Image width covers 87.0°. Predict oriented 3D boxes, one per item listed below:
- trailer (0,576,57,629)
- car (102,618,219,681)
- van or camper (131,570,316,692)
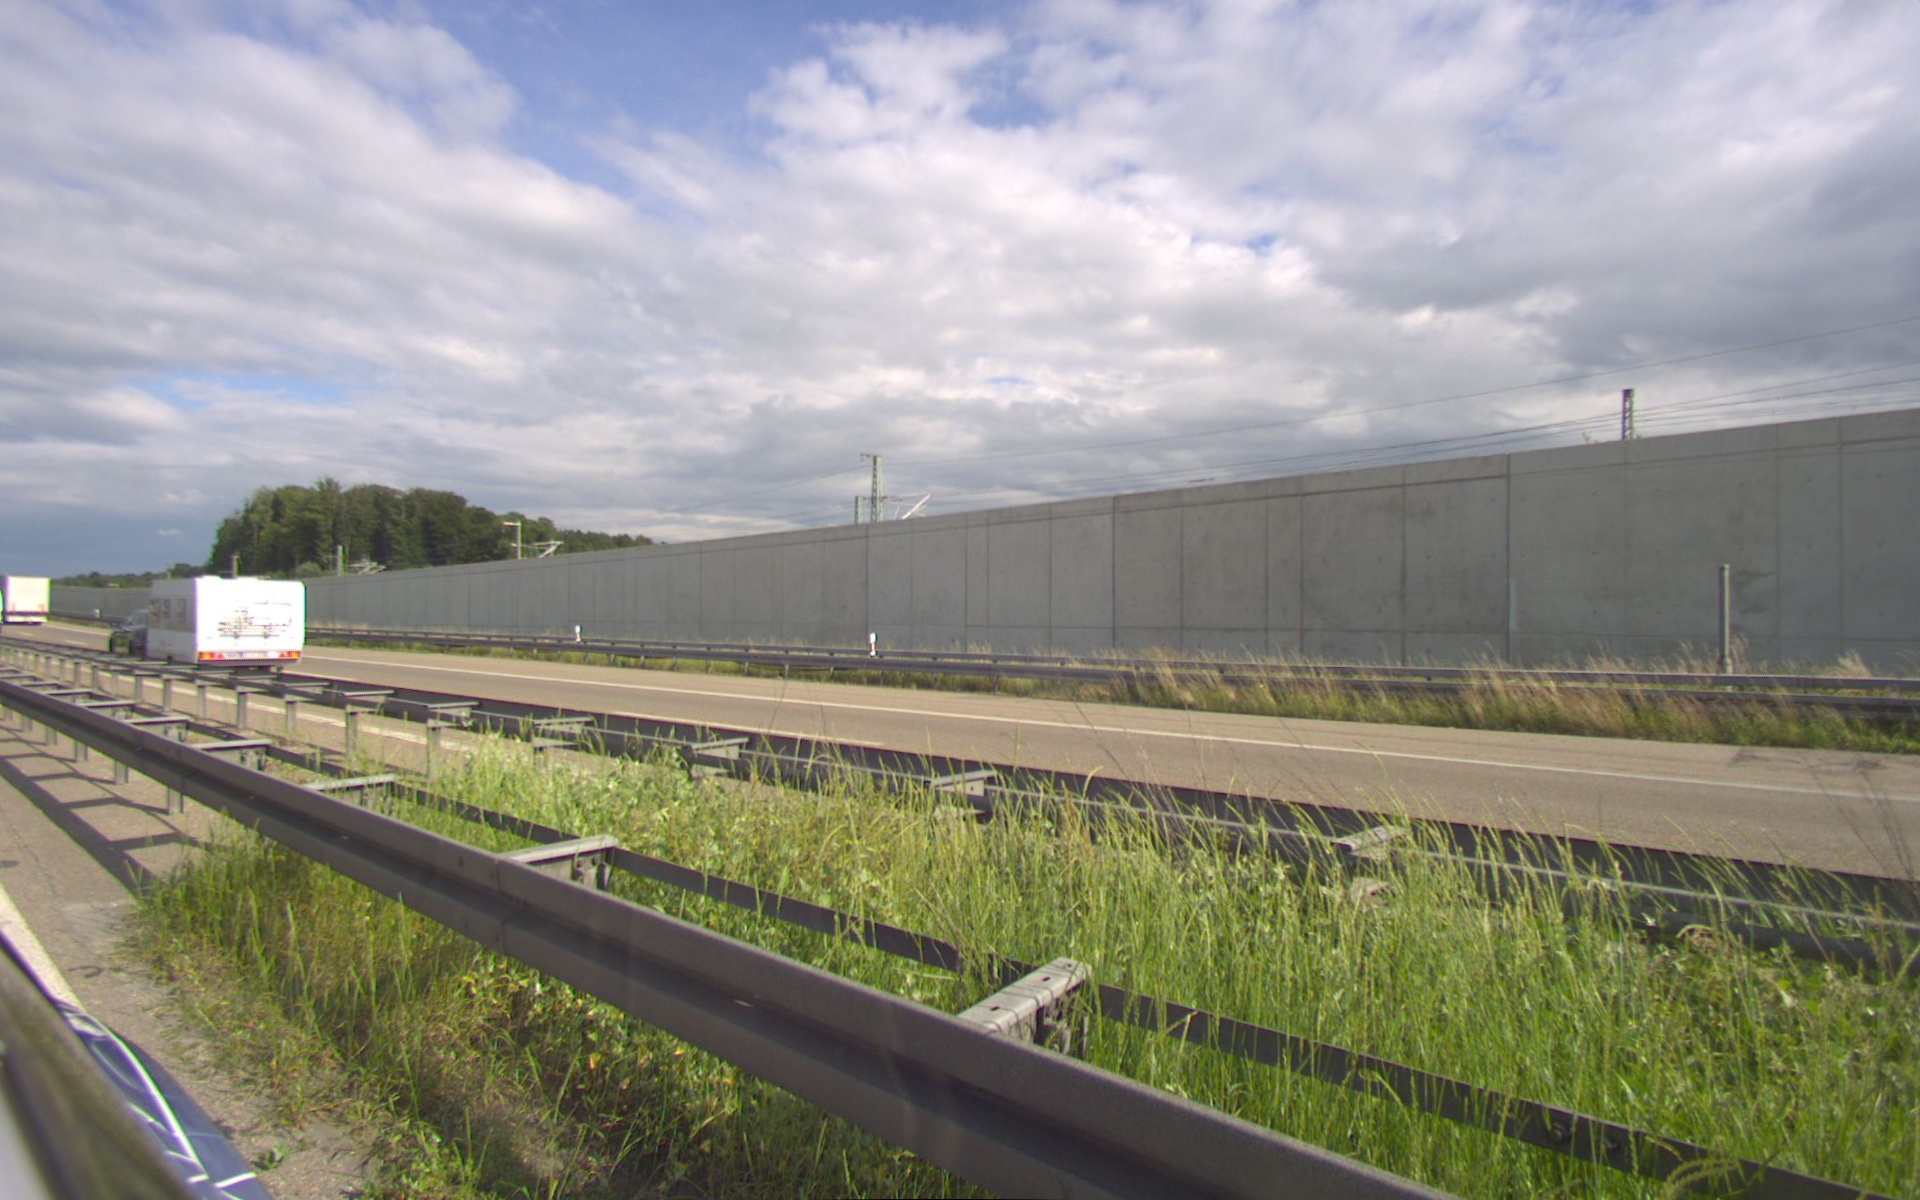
[{"bbox_3d":[-78.032,0.312,83.968,13.511,4.108,2.761,-1,-3,41],"label":"trailer"},{"bbox_3d":[-23.337,1.378,29.493,4.359,1.684,1.891,-1,-1,41],"label":"car"},{"bbox_3d":[-18.888,0.760,25.771,7.166,2.724,2.229,-1,-1,41],"label":"van or camper"}]
